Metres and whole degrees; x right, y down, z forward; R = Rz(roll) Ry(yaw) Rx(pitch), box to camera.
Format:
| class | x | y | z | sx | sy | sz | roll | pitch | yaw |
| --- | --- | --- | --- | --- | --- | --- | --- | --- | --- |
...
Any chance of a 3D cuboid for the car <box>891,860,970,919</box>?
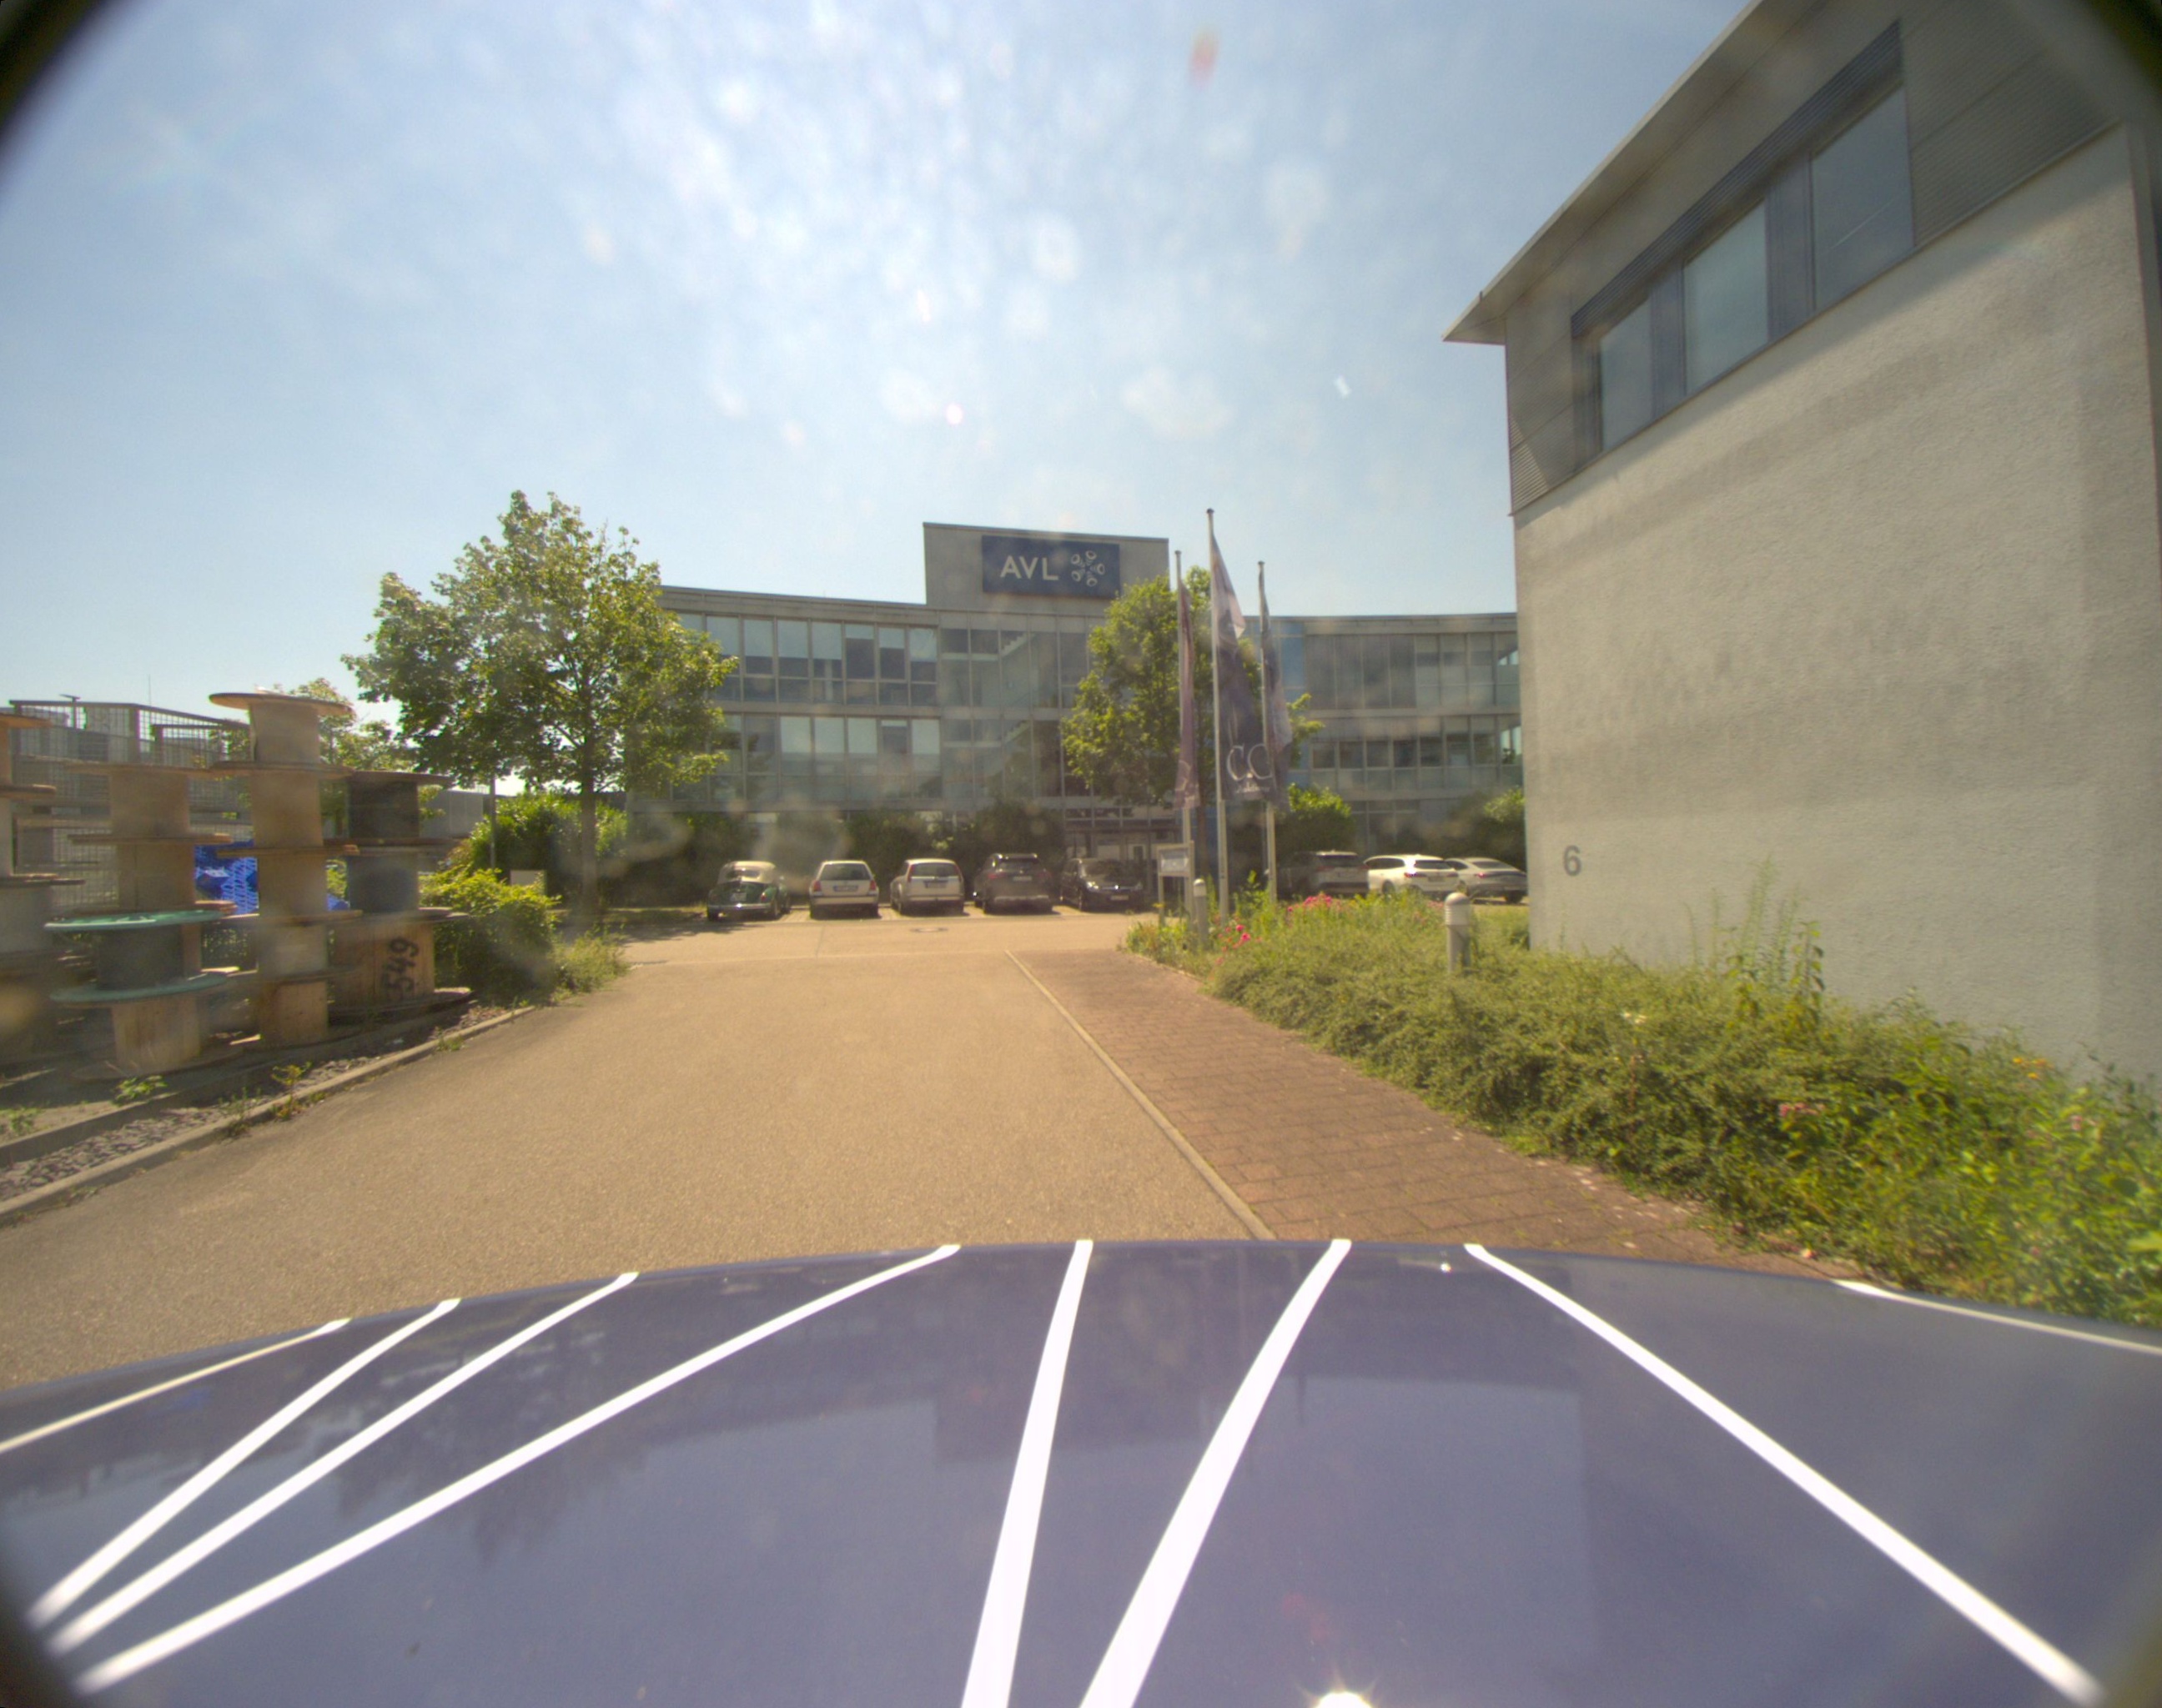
| class | x | y | z | sx | sy | sz | roll | pitch | yaw |
| --- | --- | --- | --- | --- | --- | --- | --- | --- | --- |
| car | -4.335 | 0.933 | 21.547 | 1.734 | 1.443 | 3.594 | 0 | 1 | -19 |

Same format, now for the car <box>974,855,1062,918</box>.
| class | x | y | z | sx | sy | sz | roll | pitch | yaw |
| --- | --- | --- | --- | --- | --- | --- | --- | --- | --- |
| car | -1.905 | 0.840 | 21.849 | 1.941 | 1.593 | 3.854 | 0 | 1 | -13 |

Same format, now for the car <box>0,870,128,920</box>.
| class | x | y | z | sx | sy | sz | roll | pitch | yaw |
| --- | --- | --- | --- | --- | --- | --- | --- | --- | --- |
| car | -32.435 | 1.235 | 23.166 | 4.442 | 1.401 | 1.859 | -1 | 0 | 1 |

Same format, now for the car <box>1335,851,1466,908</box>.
| class | x | y | z | sx | sy | sz | roll | pitch | yaw |
| --- | --- | --- | --- | --- | --- | --- | --- | --- | --- |
| car | 9.903 | 0.722 | 23.946 | 1.834 | 1.628 | 4.167 | -1 | 0 | -10 |

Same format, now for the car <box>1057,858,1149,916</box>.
| class | x | y | z | sx | sy | sz | roll | pitch | yaw |
| --- | --- | --- | --- | --- | --- | --- | --- | --- | --- |
| car | 0.526 | 0.894 | 22.604 | 1.731 | 1.475 | 4.392 | -1 | 0 | -12 |

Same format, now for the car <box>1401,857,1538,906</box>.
| class | x | y | z | sx | sy | sz | roll | pitch | yaw |
| --- | --- | --- | --- | --- | --- | --- | --- | --- | --- |
| car | 12.276 | 0.813 | 24.353 | 1.753 | 1.392 | 4.167 | -1 | 0 | -10 |

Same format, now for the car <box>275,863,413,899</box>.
| class | x | y | z | sx | sy | sz | roll | pitch | yaw |
| --- | --- | --- | --- | --- | --- | --- | --- | --- | --- |
| car | -31.972 | 1.145 | 33.049 | 4.410 | 1.467 | 1.781 | -1 | 0 | 4 |

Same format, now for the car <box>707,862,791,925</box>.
| class | x | y | z | sx | sy | sz | roll | pitch | yaw |
| --- | --- | --- | --- | --- | --- | --- | --- | --- | --- |
| car | -8.534 | 0.956 | 19.790 | 1.524 | 1.437 | 3.414 | 0 | 0 | -15 |

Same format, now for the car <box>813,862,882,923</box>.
| class | x | y | z | sx | sy | sz | roll | pitch | yaw |
| --- | --- | --- | --- | --- | --- | --- | --- | --- | --- |
| car | -6.337 | 0.961 | 20.464 | 1.645 | 1.443 | 3.594 | 0 | 0 | -19 |

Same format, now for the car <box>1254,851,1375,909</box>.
| class | x | y | z | sx | sy | sz | roll | pitch | yaw |
| --- | --- | --- | --- | --- | --- | --- | --- | --- | --- |
| car | 7.188 | 0.747 | 23.905 | 1.834 | 1.628 | 4.167 | -1 | 0 | -12 |
